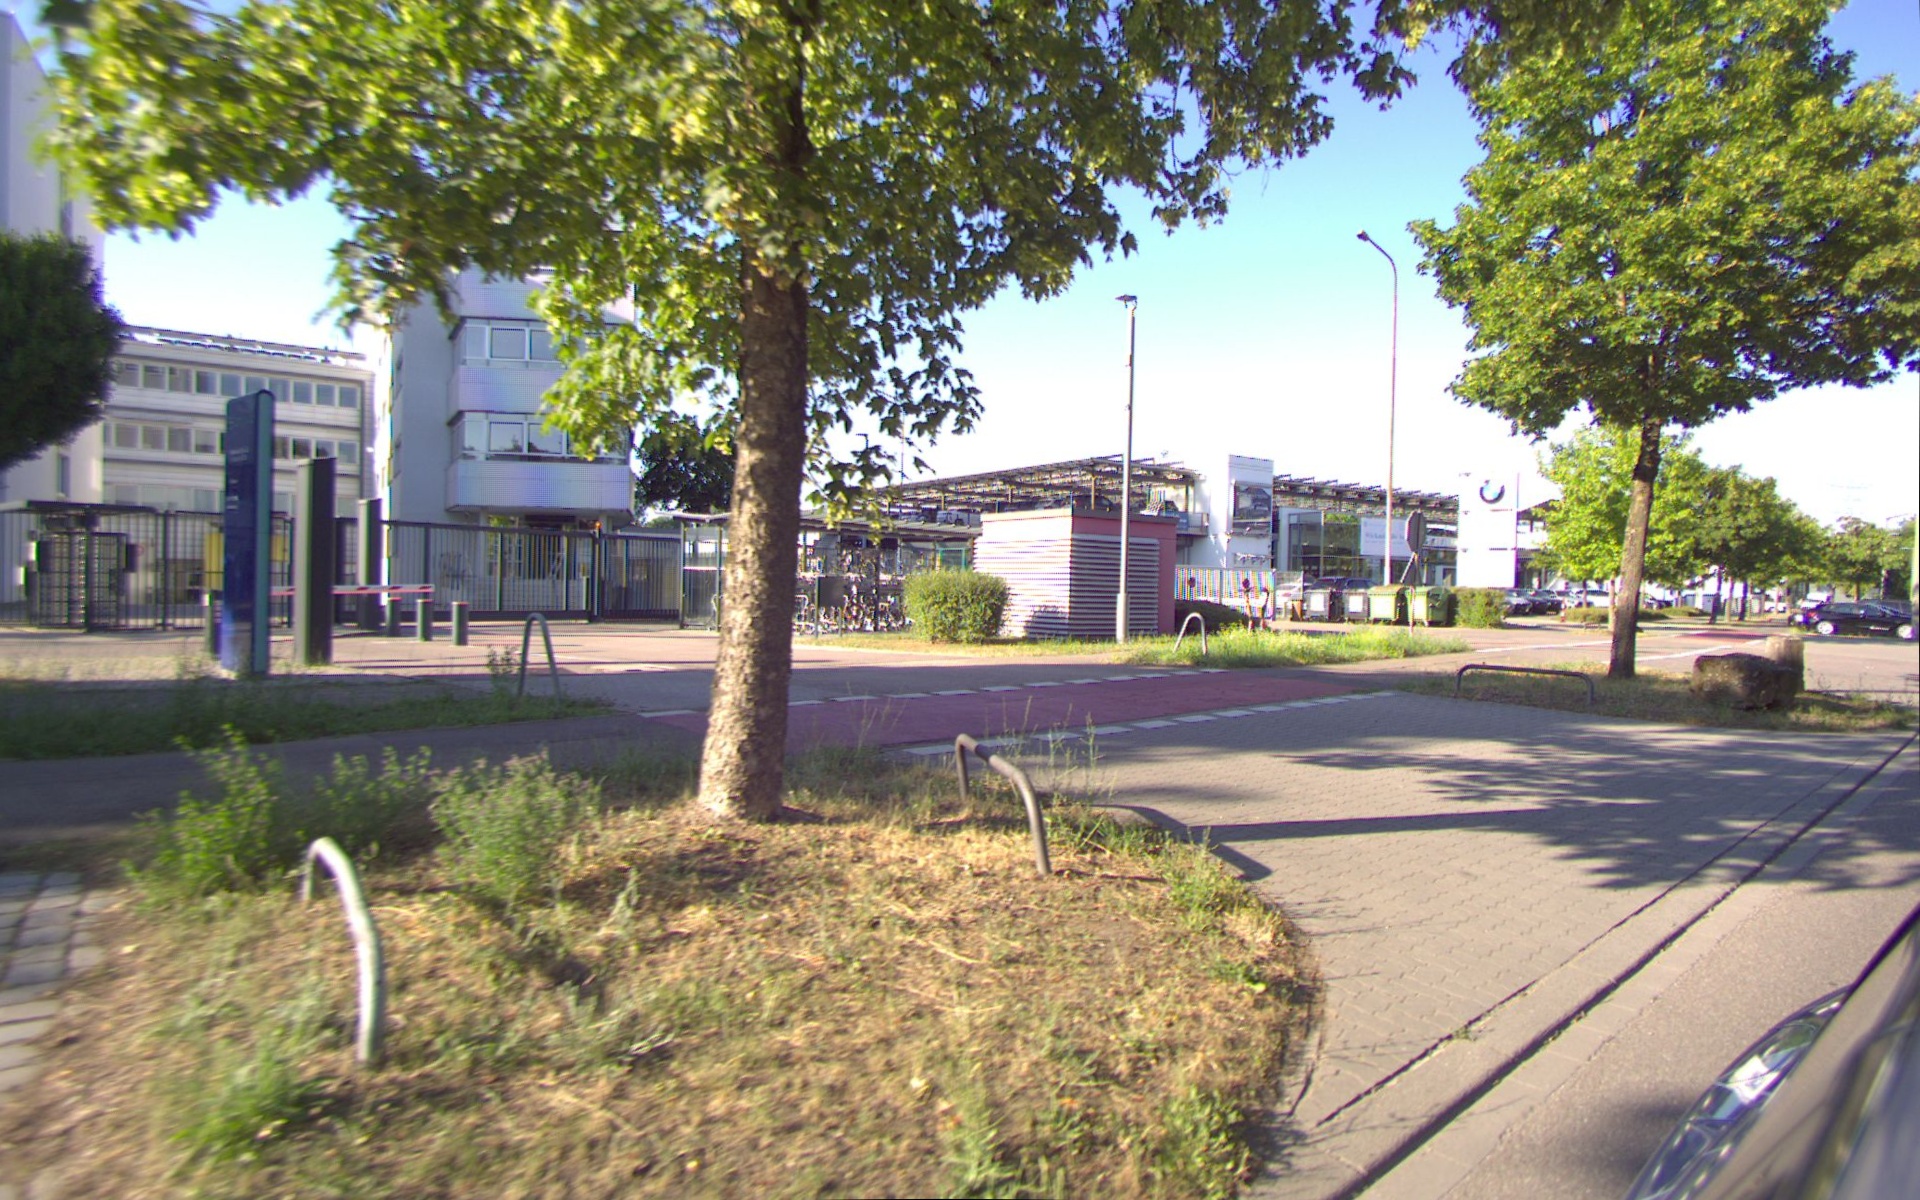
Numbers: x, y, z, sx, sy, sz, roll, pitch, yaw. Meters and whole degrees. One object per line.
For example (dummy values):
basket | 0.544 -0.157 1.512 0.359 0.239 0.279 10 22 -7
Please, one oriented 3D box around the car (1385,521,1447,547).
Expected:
car | 34.731 -4.993 77.191 1.753 1.688 4.000 1 -1 -34

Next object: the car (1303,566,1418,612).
car | 17.162 -0.475 43.290 4.877 1.850 2.040 0 1 -31

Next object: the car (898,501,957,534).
car | -2.500 -6.346 78.124 4.121 2.129 1.999 1 -1 -36

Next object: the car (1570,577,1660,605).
car | 45.356 -0.647 70.190 4.664 1.711 2.399 3 2 17

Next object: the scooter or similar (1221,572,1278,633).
scooter or similar | 6.310 0.041 22.037 1.363 1.288 0.520 0 1 -42

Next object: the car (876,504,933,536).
car | -4.365 -6.319 80.355 4.121 2.129 1.999 1 -1 -36

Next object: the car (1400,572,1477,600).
car | 33.084 -0.998 69.998 4.744 1.796 1.981 2 2 27

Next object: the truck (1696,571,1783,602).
truck | 94.174 -1.675 122.536 3.050 3.565 8.271 1 2 -11

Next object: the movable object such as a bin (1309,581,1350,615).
movable object such as a bin | 14.543 -0.072 39.857 1.019 1.283 1.119 0 1 -40

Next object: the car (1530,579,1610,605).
car | 40.620 -0.567 67.546 1.961 1.591 5.195 1 2 -2

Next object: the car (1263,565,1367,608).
car | 16.060 -0.594 45.710 4.470 1.850 2.040 1 1 -31

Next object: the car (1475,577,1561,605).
car | 32.858 -0.544 59.777 1.960 1.482 4.797 1 2 -6

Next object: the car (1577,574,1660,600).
car | 47.059 -0.948 72.423 4.542 1.593 1.990 3 2 17

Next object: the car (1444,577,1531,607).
car | 28.004 -0.443 53.951 2.007 1.482 4.792 1 2 -1

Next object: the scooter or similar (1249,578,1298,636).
scooter or similar | 7.198 0.149 23.189 1.180 1.288 0.520 0 1 -42

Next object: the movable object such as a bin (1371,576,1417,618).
movable object such as a bin | 15.973 -0.131 37.248 1.019 1.502 1.213 0 1 -40

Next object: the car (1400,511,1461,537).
car | 37.009 -5.943 79.637 1.752 1.688 4.001 1 -1 -33

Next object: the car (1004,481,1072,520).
car | 5.129 -6.491 66.512 4.121 2.129 1.999 1 -1 -36

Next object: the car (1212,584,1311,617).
car | 14.277 0.009 47.874 4.470 1.450 2.040 1 1 -31

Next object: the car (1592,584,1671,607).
car | 51.040 -0.333 76.997 4.541 1.593 1.990 2 1 17

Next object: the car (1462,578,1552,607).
car | 30.437 -0.457 56.498 1.960 1.482 4.797 1 2 -6

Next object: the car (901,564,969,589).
car | -1.778 -1.665 72.155 4.475 1.694 2.038 0 2 -36

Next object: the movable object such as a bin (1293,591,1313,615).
movable object such as a bin | 13.755 0.111 40.626 0.593 0.933 0.506 0 1 -37

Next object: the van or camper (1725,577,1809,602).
van or camper | 102.803 -1.389 129.081 2.880 2.936 8.031 1 2 -16

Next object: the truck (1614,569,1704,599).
truck | 91.043 -2.123 132.085 3.226 3.689 10.142 1 2 -12

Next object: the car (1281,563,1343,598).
car | 21.786 -1.207 62.739 1.960 2.038 4.188 1 1 -6

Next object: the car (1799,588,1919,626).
car | 41.106 0.287 45.959 4.483 1.570 2.001 2 2 45

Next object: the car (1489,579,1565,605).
car | 35.767 -0.535 63.985 1.961 1.482 4.793 1 2 -2

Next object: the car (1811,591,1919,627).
car | 39.822 0.383 43.822 4.481 1.421 2.002 2 2 43

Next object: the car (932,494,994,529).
car | 0.247 -6.400 73.800 4.121 2.129 1.999 1 -1 -36

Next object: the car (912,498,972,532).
car | -1.337 -6.371 76.162 4.121 2.129 1.999 1 -1 -36

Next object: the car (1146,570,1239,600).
car | 12.006 -0.775 52.164 4.470 1.450 2.040 1 1 -31

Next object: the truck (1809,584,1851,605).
truck | 119.142 -0.737 138.521 5.853 2.754 2.549 1 1 -31

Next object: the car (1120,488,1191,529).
car | 12.318 -5.721 63.985 1.962 2.128 4.201 1 -1 -35

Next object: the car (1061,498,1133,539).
car | 8.360 -4.921 61.676 4.121 2.129 1.999 1 -1 -36

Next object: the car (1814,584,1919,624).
car | 43.788 0.169 48.029 2.154 1.773 4.702 0 2 -42

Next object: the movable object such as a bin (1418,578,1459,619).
movable object such as a bin | 16.901 -0.048 35.760 1.016 1.434 0.850 1 -1 -15
